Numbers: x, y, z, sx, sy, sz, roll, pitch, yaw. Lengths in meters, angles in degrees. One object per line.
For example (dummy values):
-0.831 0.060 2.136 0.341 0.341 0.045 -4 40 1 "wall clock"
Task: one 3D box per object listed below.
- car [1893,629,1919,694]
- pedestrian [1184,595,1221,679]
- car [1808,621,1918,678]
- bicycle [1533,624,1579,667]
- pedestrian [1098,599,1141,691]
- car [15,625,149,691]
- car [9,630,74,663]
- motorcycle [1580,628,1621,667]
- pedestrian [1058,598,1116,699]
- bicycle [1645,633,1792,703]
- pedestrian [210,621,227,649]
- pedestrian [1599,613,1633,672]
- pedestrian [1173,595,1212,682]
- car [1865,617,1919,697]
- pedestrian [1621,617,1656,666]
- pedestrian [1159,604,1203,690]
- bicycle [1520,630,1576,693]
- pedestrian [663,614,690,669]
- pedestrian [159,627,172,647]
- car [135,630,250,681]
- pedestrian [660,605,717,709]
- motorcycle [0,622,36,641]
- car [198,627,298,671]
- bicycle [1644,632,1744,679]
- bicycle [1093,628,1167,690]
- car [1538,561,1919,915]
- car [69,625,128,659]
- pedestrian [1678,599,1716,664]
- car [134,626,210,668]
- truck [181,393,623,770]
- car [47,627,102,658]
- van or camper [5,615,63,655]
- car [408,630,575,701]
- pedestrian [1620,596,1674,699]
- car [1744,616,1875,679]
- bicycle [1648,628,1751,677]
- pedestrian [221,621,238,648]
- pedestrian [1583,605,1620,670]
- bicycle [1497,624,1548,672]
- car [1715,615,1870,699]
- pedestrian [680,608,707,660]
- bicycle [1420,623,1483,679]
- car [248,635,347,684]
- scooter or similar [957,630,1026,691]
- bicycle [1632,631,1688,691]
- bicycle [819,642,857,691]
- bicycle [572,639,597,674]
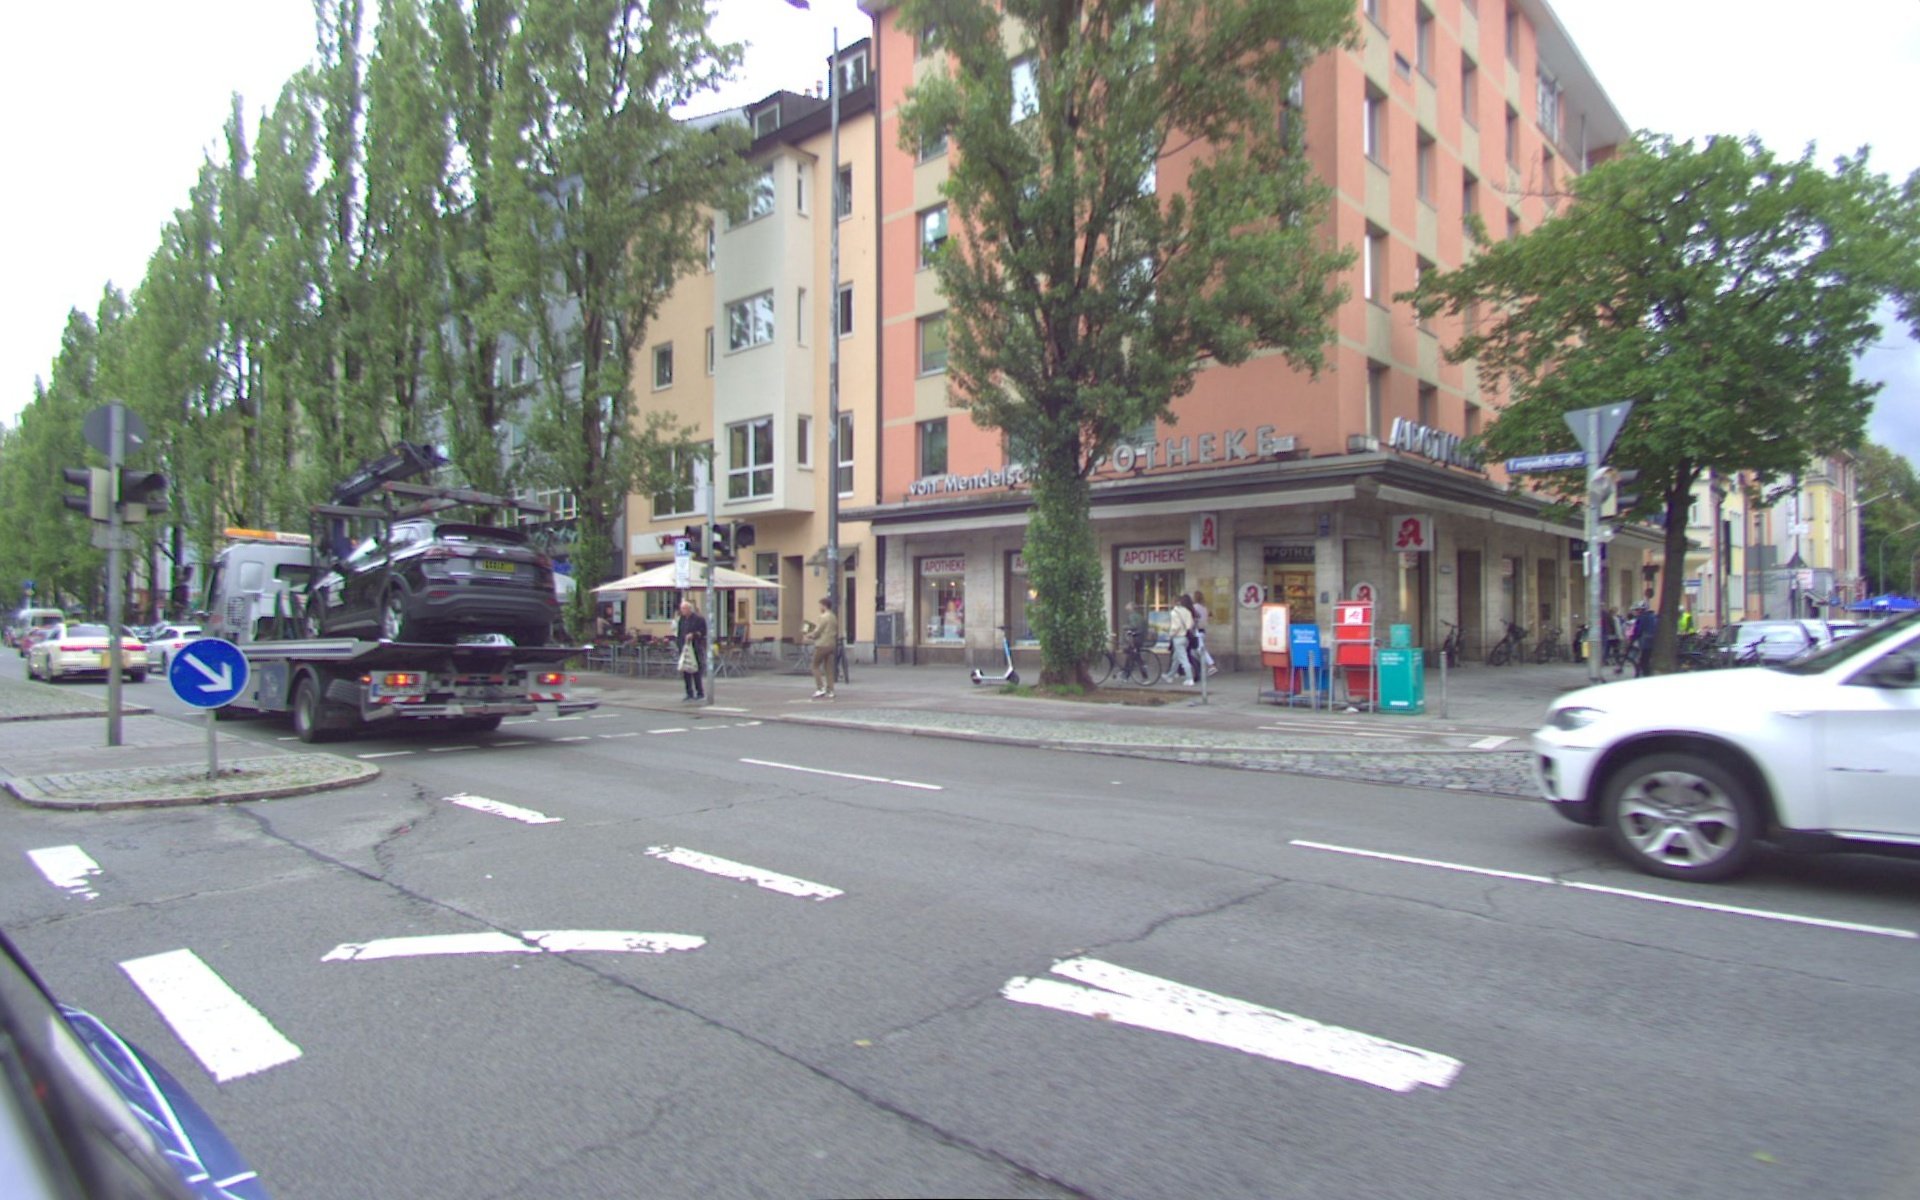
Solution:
23.570 1.415 23.956 3.937 1.431 1.745 1 -2 -41 "car"
4.985 0.749 20.773 0.513 1.703 0.580 -2 -2 40 "pedestrian"
25.300 1.341 28.309 3.938 1.431 1.784 0 -1 -41 "car"
17.030 1.281 28.905 0.690 1.193 2.034 -2 -2 43 "bicycle"
3.001 0.842 19.041 0.626 1.683 0.502 -2 -2 42 "pedestrian"
-22.336 1.404 25.672 4.982 1.513 1.825 -2 -2 41 "car"
-42.152 2.088 46.429 3.821 1.448 1.719 -1 -2 41 "car"
19.945 1.453 31.507 0.690 1.147 2.034 -2 -2 43 "motorcycle"
2.327 0.876 18.528 0.777 1.784 0.716 -2 -2 42 "pedestrian"
13.507 1.190 18.103 2.058 1.193 0.411 -1 -2 34 "bicycle"
-48.910 2.304 66.737 0.715 1.808 0.740 -2 -2 41 "pedestrian"
19.035 1.215 29.371 0.729 1.654 0.729 -1 0 41 "pedestrian"
4.651 0.756 20.243 0.519 1.701 0.623 -1 0 42 "pedestrian"
18.908 1.048 19.435 3.937 1.431 1.784 0 -2 -41 "car"
20.135 1.217 30.035 0.780 1.401 0.656 -1 0 40 "pedestrian"
4.187 0.883 19.153 0.548 1.595 0.649 -2 -2 42 "pedestrian"
12.522 1.283 21.527 2.031 1.193 0.417 -1 0 -42 "bicycle"
-9.113 1.332 32.479 0.691 1.731 0.549 -2 -2 40 "pedestrian"
-57.847 2.705 73.680 0.550 1.449 0.642 -2 -2 36 "pedestrian"
-23.168 1.607 30.478 4.629 1.418 1.804 -1 -2 41 "car"
-4.960 1.012 18.481 0.725 1.809 0.995 -1 0 -31 "pedestrian"
-71.251 2.384 76.509 0.569 1.432 2.001 -1 -2 33 "motorcycle"
-24.892 1.675 35.336 4.429 1.423 1.686 -1 -2 39 "car"
19.264 1.443 26.623 2.058 1.193 0.682 -1 -2 34 "bicycle"
3.219 1.107 19.263 1.373 1.150 0.416 -2 -2 42 "bicycle"
5.790 0.681 5.196 4.633 1.729 1.818 -1 -2 41 "car"
-46.001 2.229 54.022 3.766 1.699 1.602 -1 -4 38 "car"
20.489 0.872 28.146 0.780 1.780 0.656 -2 -2 40 "pedestrian"
-33.469 1.951 42.938 4.585 1.693 1.761 -1 -3 42 "car"
-7.904 -0.114 13.628 8.434 3.698 2.438 -1 -2 41 "truck"
-49.935 2.375 57.059 4.500 1.645 1.685 -1 -3 41 "car"
-61.553 2.317 67.213 6.640 2.570 2.103 -2 -2 41 "van or camper"
-10.918 1.447 23.437 4.586 1.449 1.686 -1 -2 40 "car"
12.244 0.832 18.031 0.691 1.780 0.770 -2 -2 41 "pedestrian"
21.185 1.123 25.206 3.887 1.431 1.894 1 -2 -41 "car"
18.817 1.319 25.814 2.058 1.193 0.682 -1 -2 34 "bicycle"
-48.517 2.296 67.218 0.715 1.808 0.740 -2 -2 41 "pedestrian"
17.907 1.032 28.252 0.780 1.780 0.656 -1 0 40 "pedestrian"
14.742 1.236 26.501 0.690 1.193 2.034 -2 -2 43 "bicycle"
16.880 1.066 20.467 3.938 1.431 1.784 -1 0 -41 "car"
-8.655 1.092 32.864 0.691 1.651 0.549 -2 -2 40 "pedestrian"
10.997 1.117 22.591 0.690 1.193 2.034 -2 -2 43 "bicycle"
-20.737 1.819 31.620 4.184 1.392 1.478 -1 -3 41 "car"
0.626 1.200 20.254 1.401 1.182 0.403 -2 -2 37 "scooter or similar"
15.430 1.318 22.295 2.031 1.193 0.538 -1 0 -42 "bicycle"
-2.703 1.439 22.327 0.324 0.993 1.817 0 -1 -24 "bicycle"
-11.067 1.646 29.832 0.320 0.966 1.537 0 -1 -6 "bicycle"
